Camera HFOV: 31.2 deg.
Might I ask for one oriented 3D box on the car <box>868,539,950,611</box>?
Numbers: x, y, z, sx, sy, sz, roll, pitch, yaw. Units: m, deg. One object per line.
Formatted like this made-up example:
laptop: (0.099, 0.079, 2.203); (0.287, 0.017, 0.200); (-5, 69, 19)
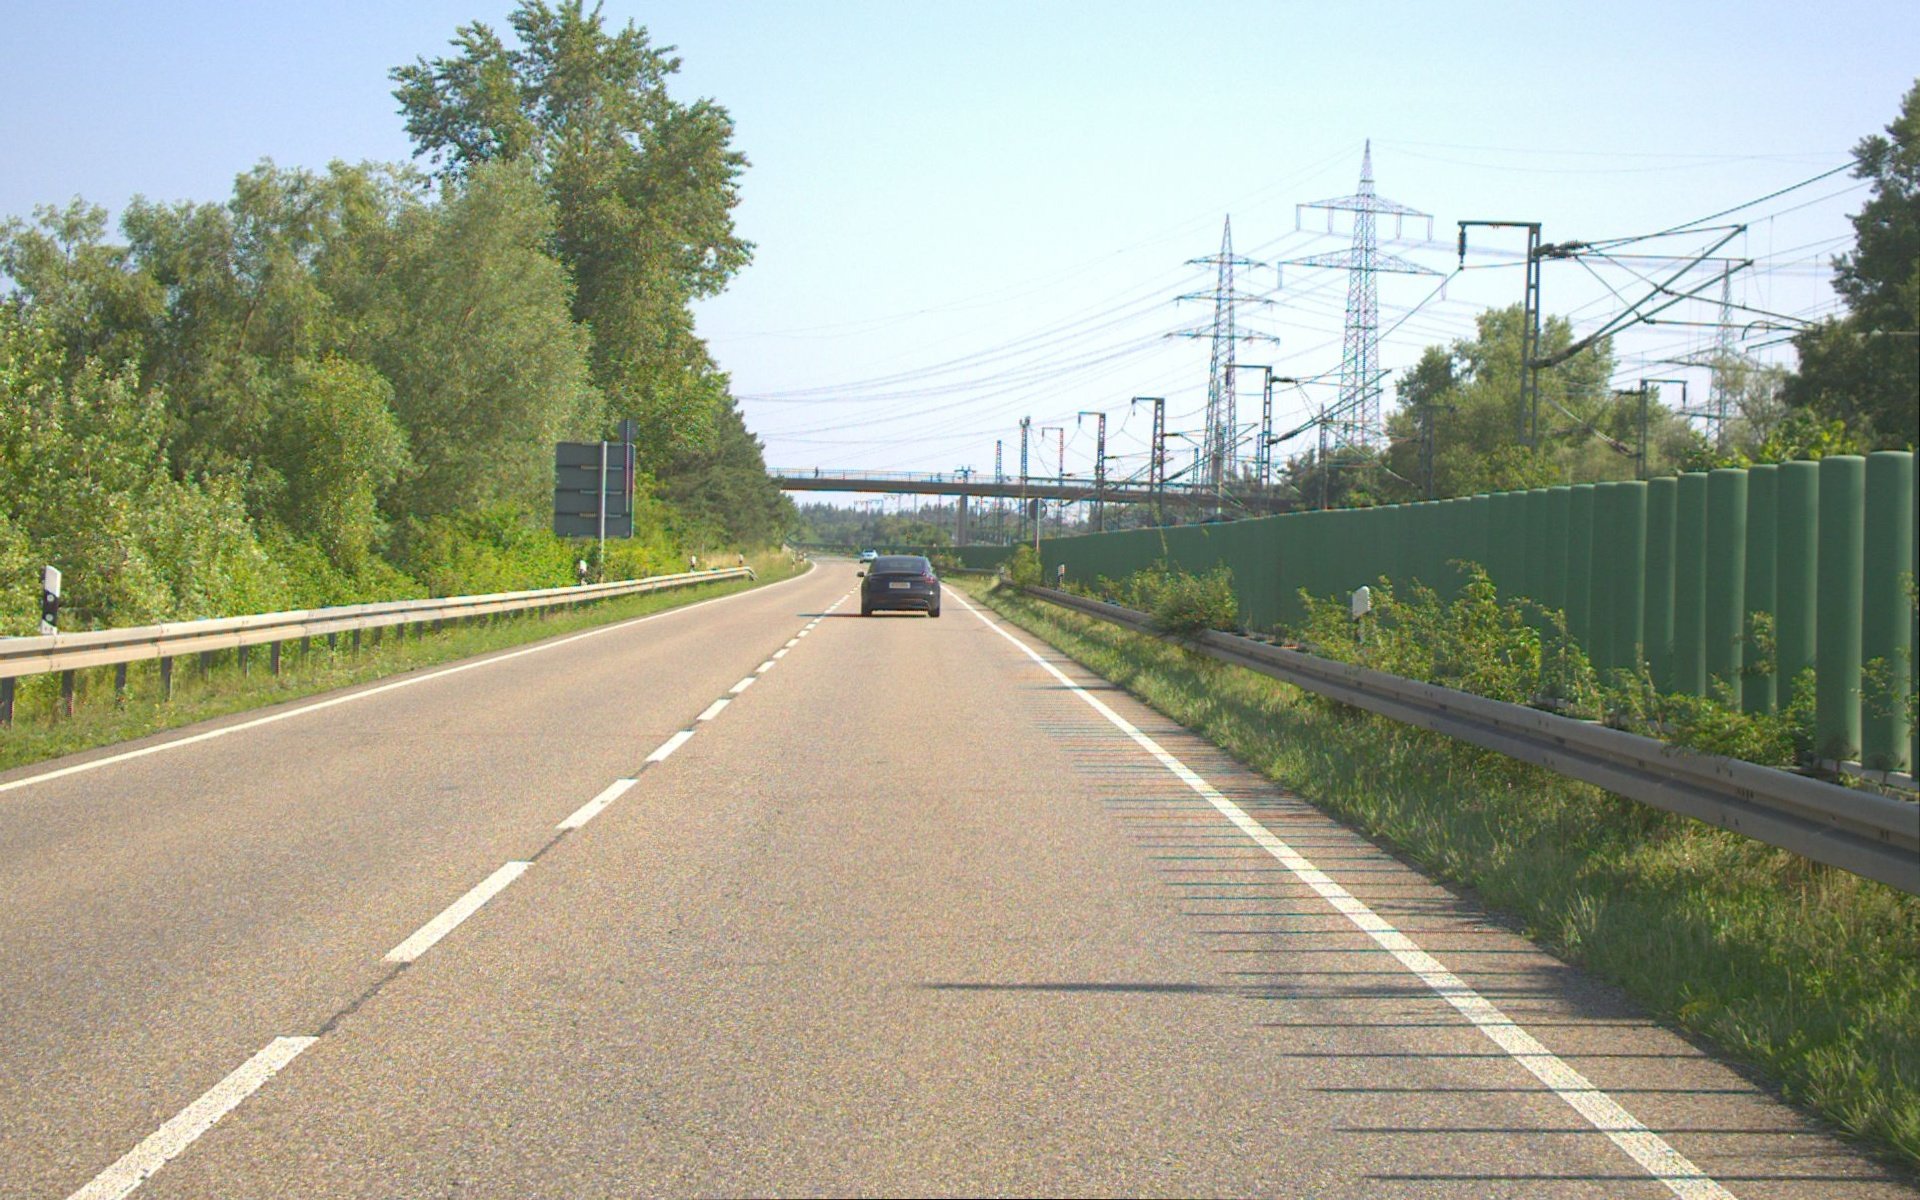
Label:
car: (-1.227, -0.606, 80.806); (1.858, 1.636, 4.000); (1, 1, -2)
